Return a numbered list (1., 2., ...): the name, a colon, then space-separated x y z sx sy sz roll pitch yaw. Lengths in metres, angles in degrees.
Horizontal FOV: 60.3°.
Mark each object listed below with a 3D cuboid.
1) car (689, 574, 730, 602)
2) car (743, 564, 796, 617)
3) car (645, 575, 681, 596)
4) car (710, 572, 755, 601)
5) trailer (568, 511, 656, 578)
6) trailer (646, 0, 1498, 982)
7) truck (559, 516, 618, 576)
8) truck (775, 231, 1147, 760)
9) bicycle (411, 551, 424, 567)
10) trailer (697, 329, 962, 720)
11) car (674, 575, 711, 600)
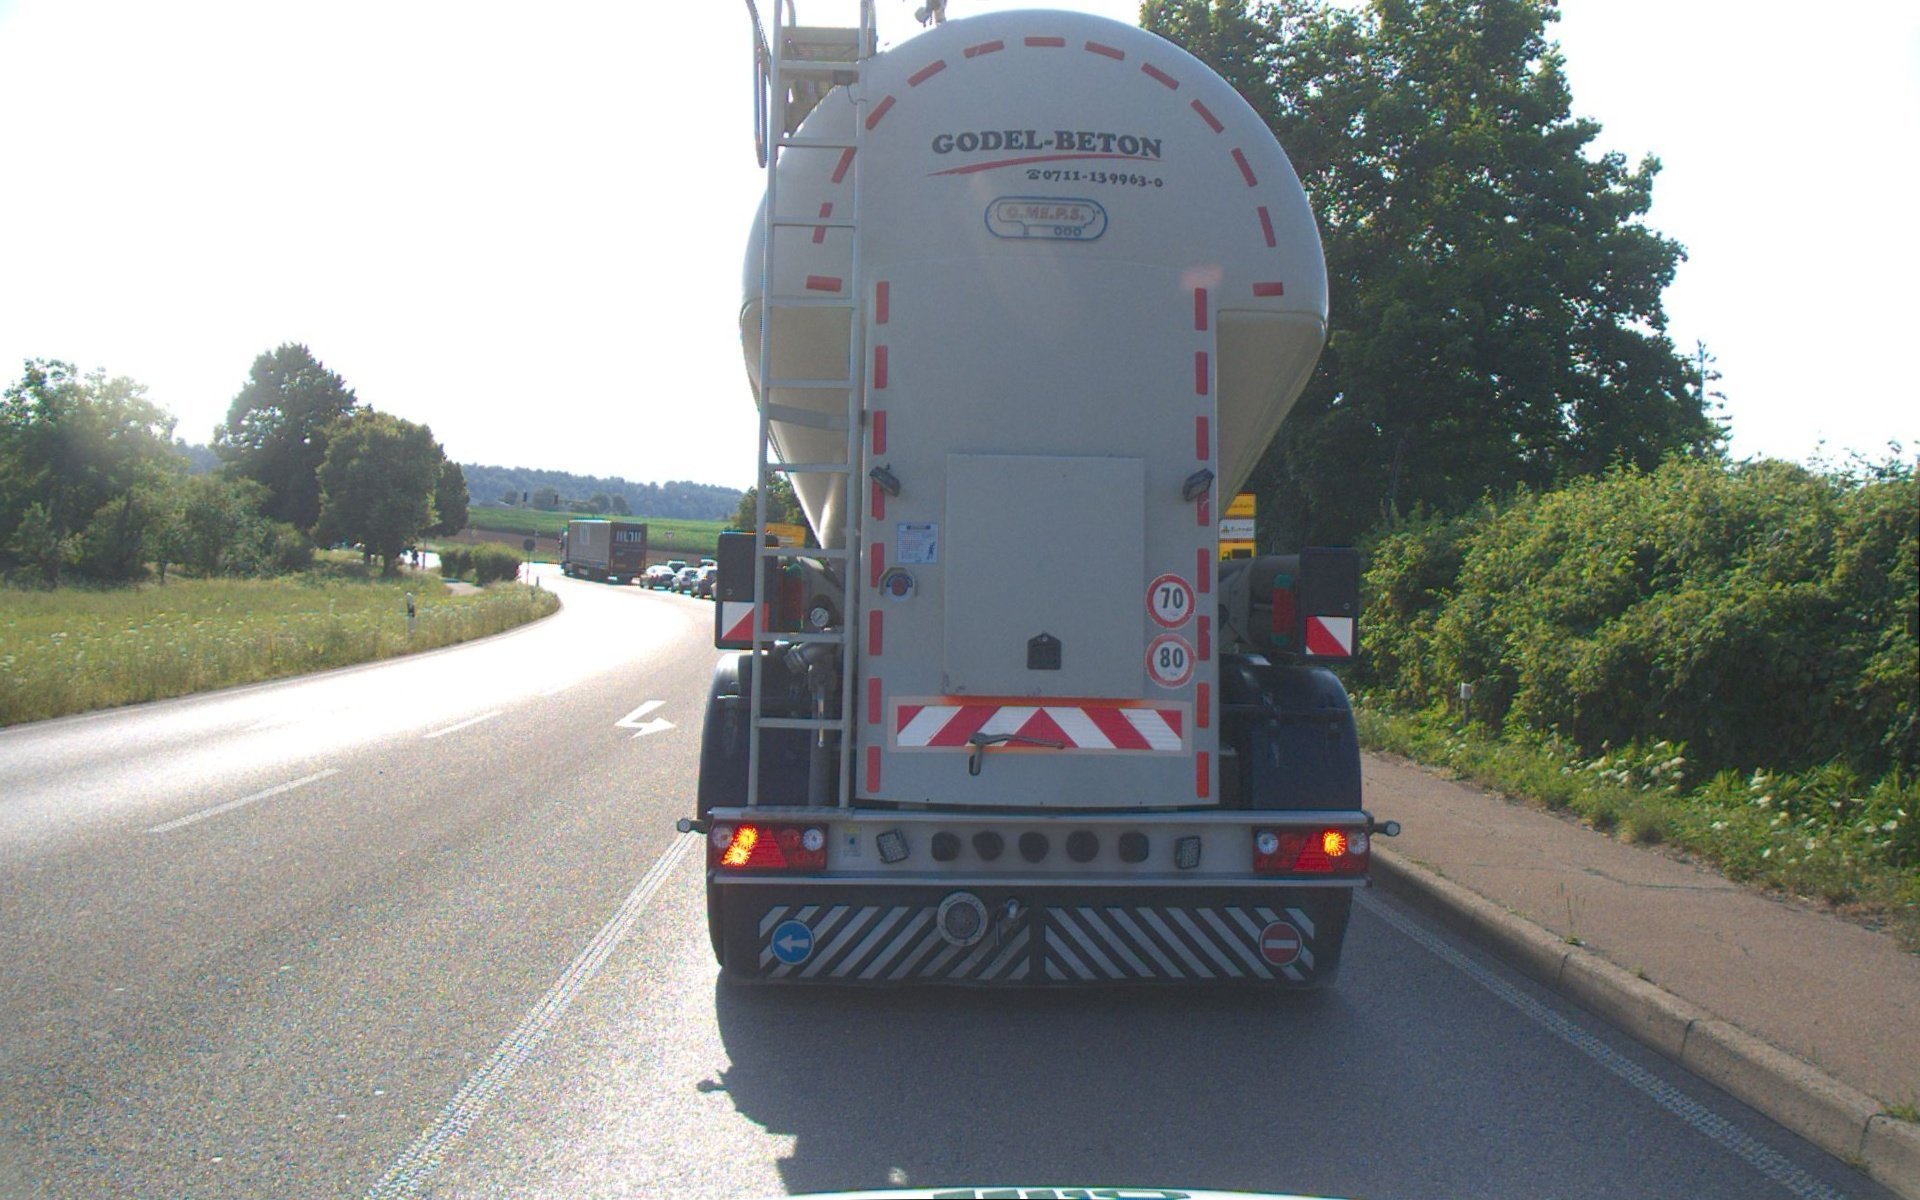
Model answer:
1. car: -13.271 -0.628 87.480 1.556 1.364 3.408 2 0 -18
2. car: -7.752 -0.393 66.972 1.828 2.049 3.709 1 1 -11
3. car: -18.277 -0.896 101.727 1.742 1.227 3.408 2 0 -18
4. car: -11.197 -0.680 81.304 1.556 1.364 3.408 2 0 -18
5. trailer: -25.217 -3.946 119.173 3.331 4.426 14.190 2 1 -23
6. trailer: 0.136 -0.779 10.553 2.852 4.076 9.924 1 0 -3
7. truck: -28.547 -4.111 126.897 3.331 4.426 5.664 2 0 -24
8. truck: -0.111 -0.812 14.933 2.852 4.076 4.056 1 0 -4
9. bicycle: -38.525 -2.894 117.462 0.623 1.093 1.667 3 0 -9
10. trailer: -1.577 -0.931 26.126 2.895 4.390 14.173 2 0 -1
11. car: -15.453 -0.737 95.510 1.556 1.364 3.408 2 0 -18
